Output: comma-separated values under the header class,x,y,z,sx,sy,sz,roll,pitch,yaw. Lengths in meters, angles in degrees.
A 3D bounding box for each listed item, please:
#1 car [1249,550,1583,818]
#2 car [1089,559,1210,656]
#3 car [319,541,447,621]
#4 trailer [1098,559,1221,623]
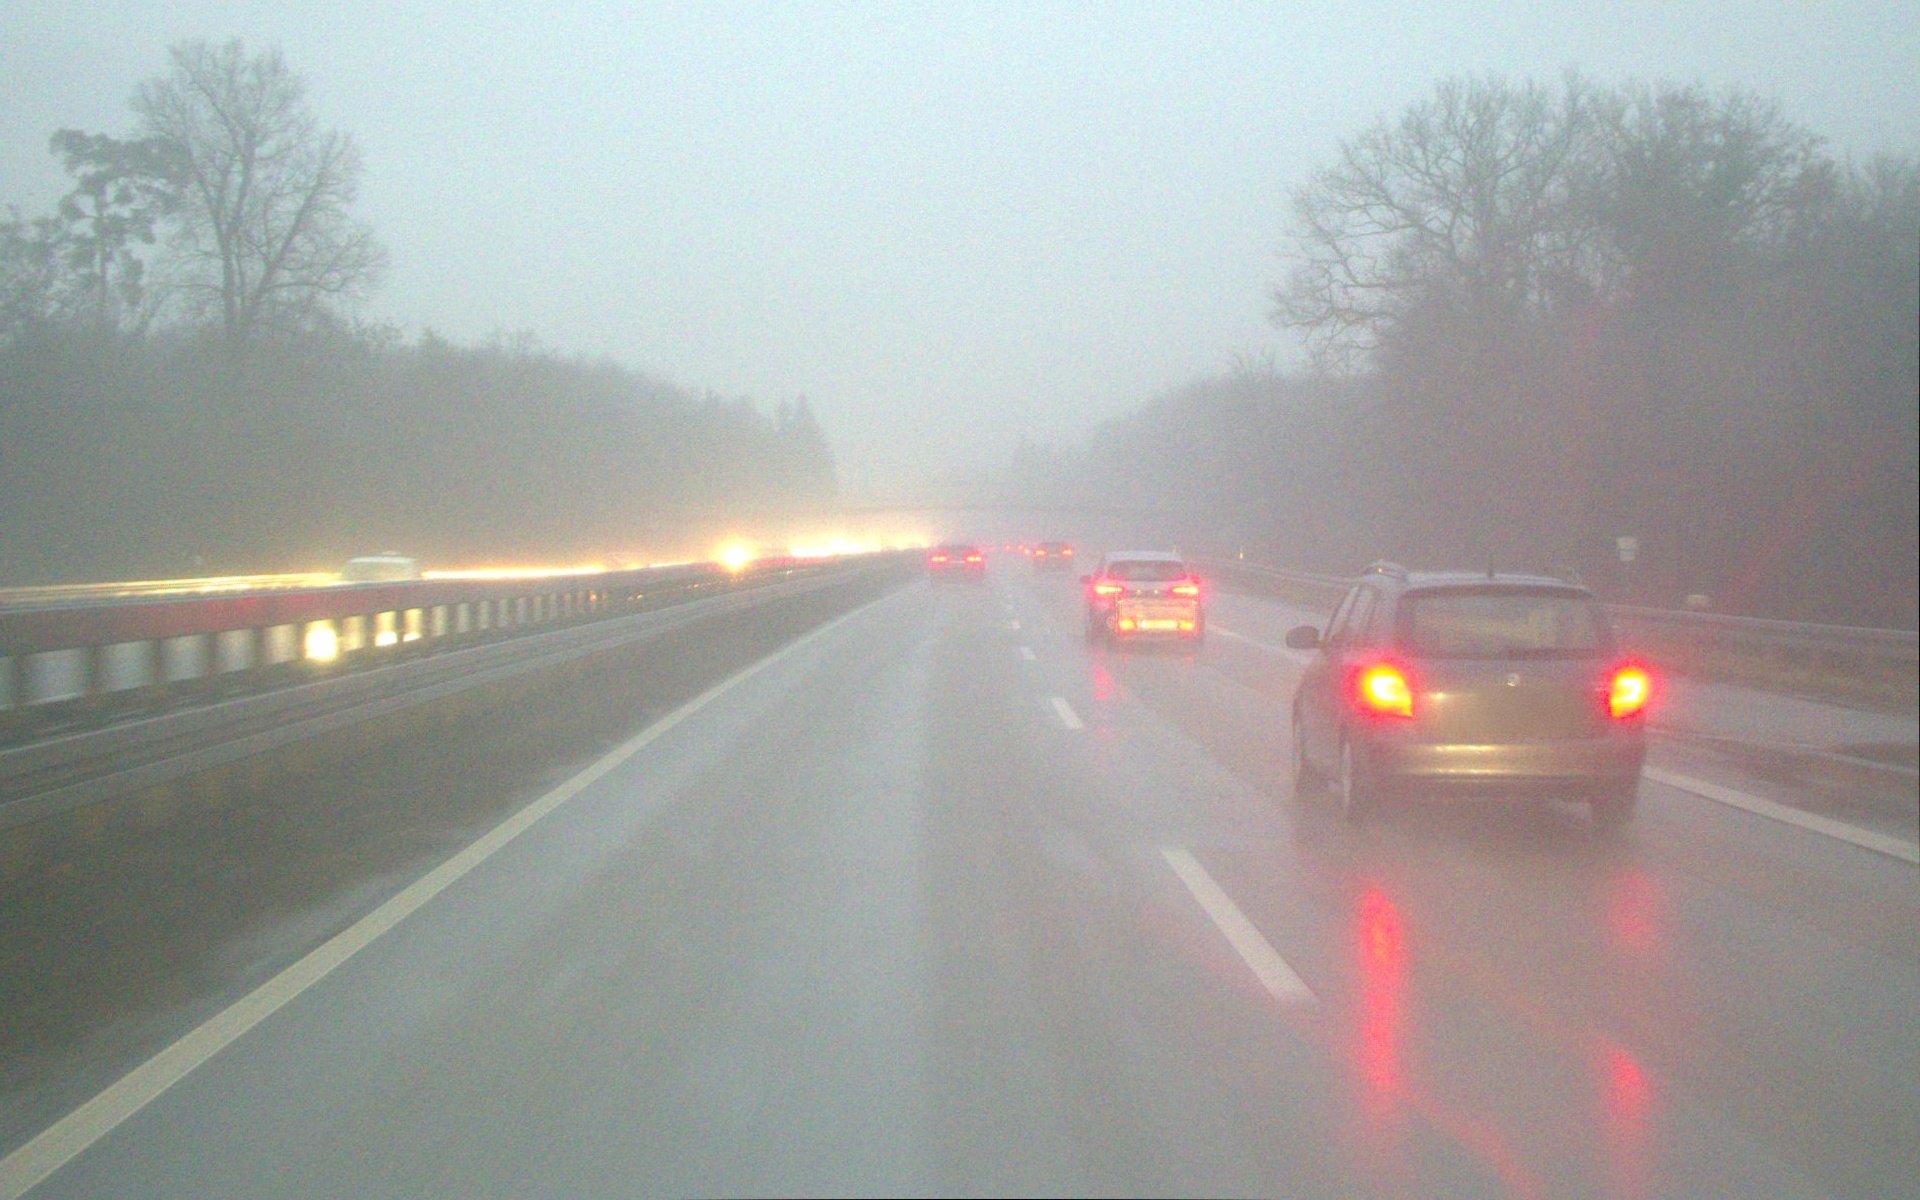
class,x,y,z,sx,sy,sz,roll,pitch,yaw
car,2.705,0.444,21.047,1.594,1.485,3.594,0,1,1
car,3.111,0.100,57.063,1.786,1.511,3.811,-1,1,1
car,-11.726,-0.410,70.153,1.797,1.565,4.753,0,1,0
trailer,3.092,-0.160,53.659,1.748,0.922,2.951,-1,1,1
